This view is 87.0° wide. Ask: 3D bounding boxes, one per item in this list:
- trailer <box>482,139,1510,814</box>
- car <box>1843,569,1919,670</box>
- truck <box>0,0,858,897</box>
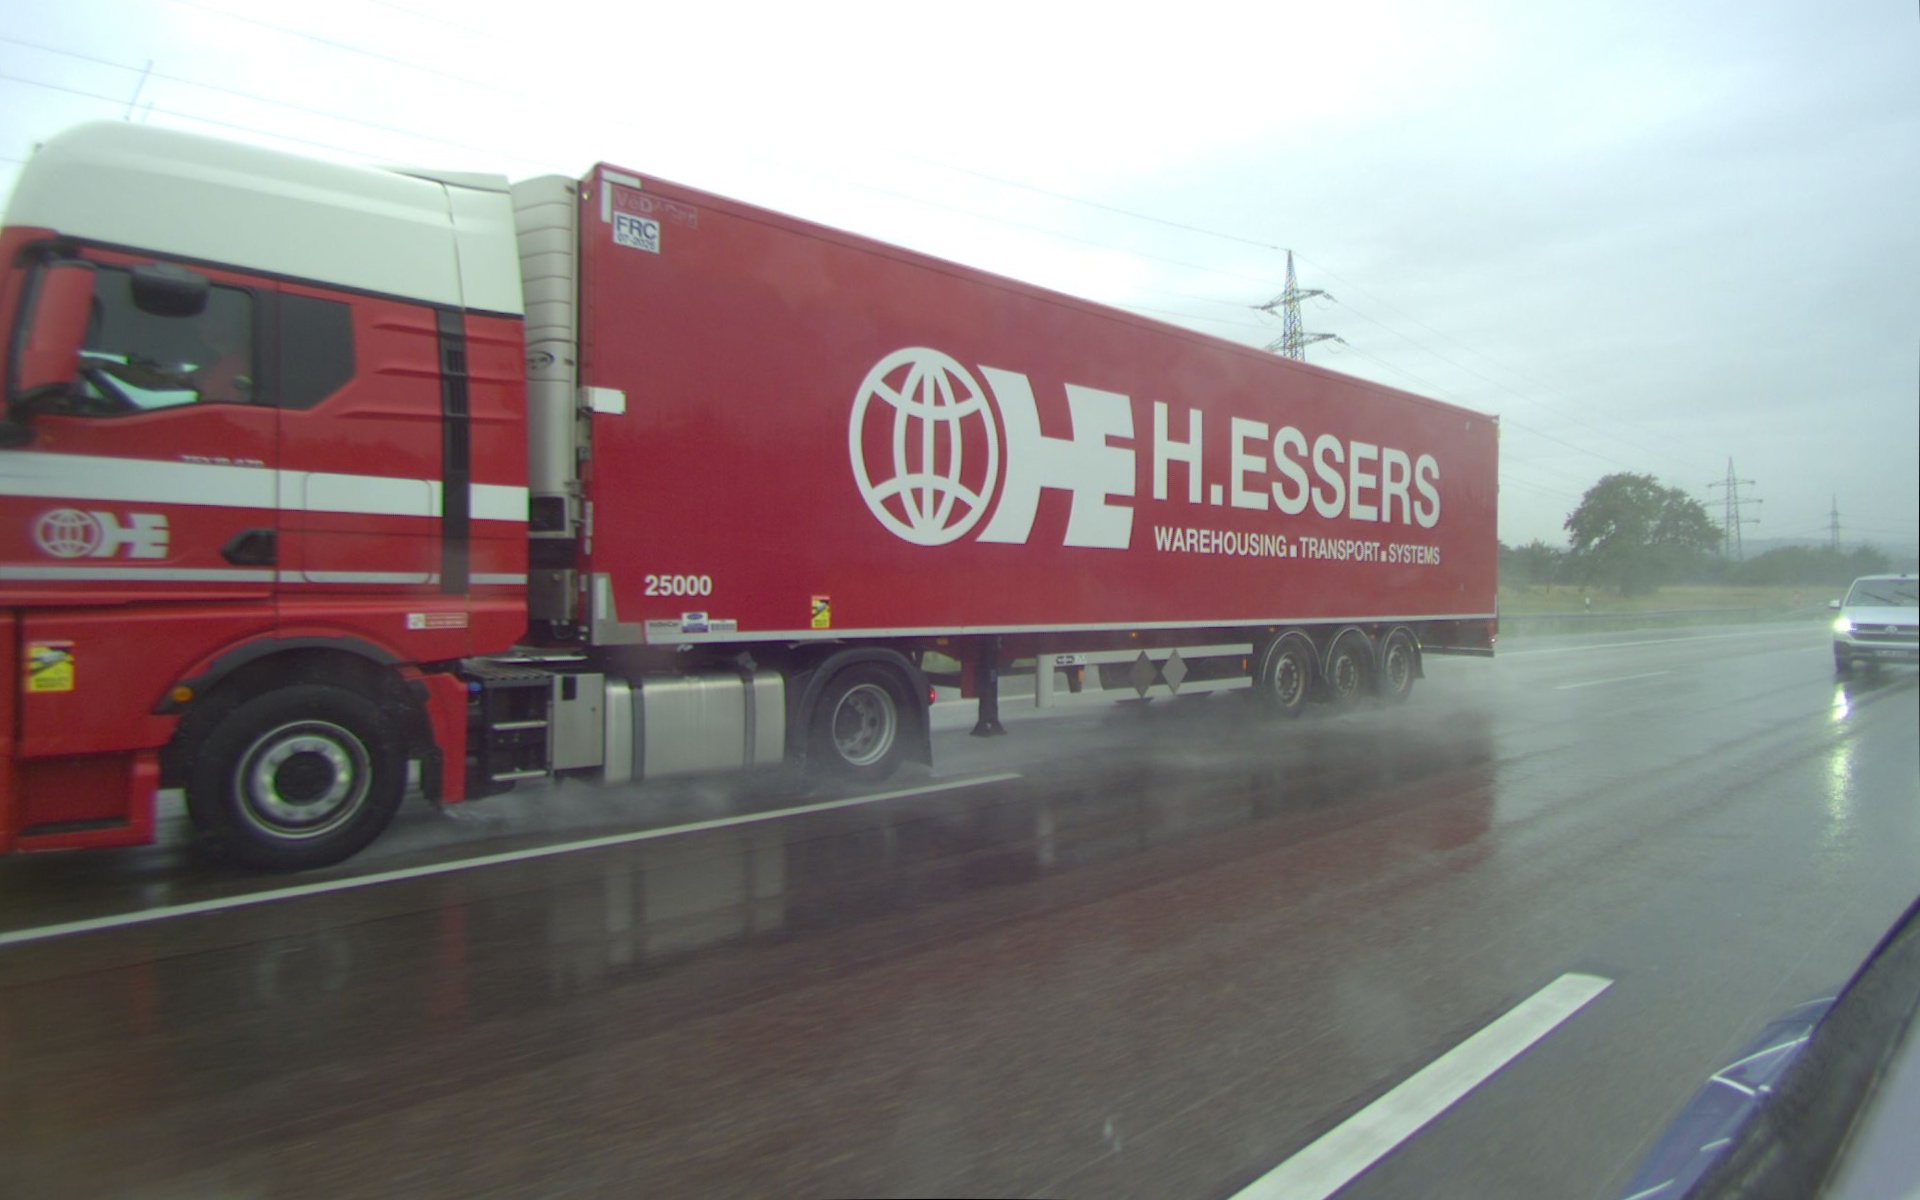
[{"bbox_3d":[2.124,-0.779,11.393,13.391,4.005,2.625,0,0,-41],"label":"trailer"},{"bbox_3d":[19.833,0.376,20.675,4.920,1.908,1.890,0,-3,-40],"label":"car"},{"bbox_3d":[-3.592,-0.758,6.453,5.337,4.005,2.625,0,0,-40],"label":"truck"}]
